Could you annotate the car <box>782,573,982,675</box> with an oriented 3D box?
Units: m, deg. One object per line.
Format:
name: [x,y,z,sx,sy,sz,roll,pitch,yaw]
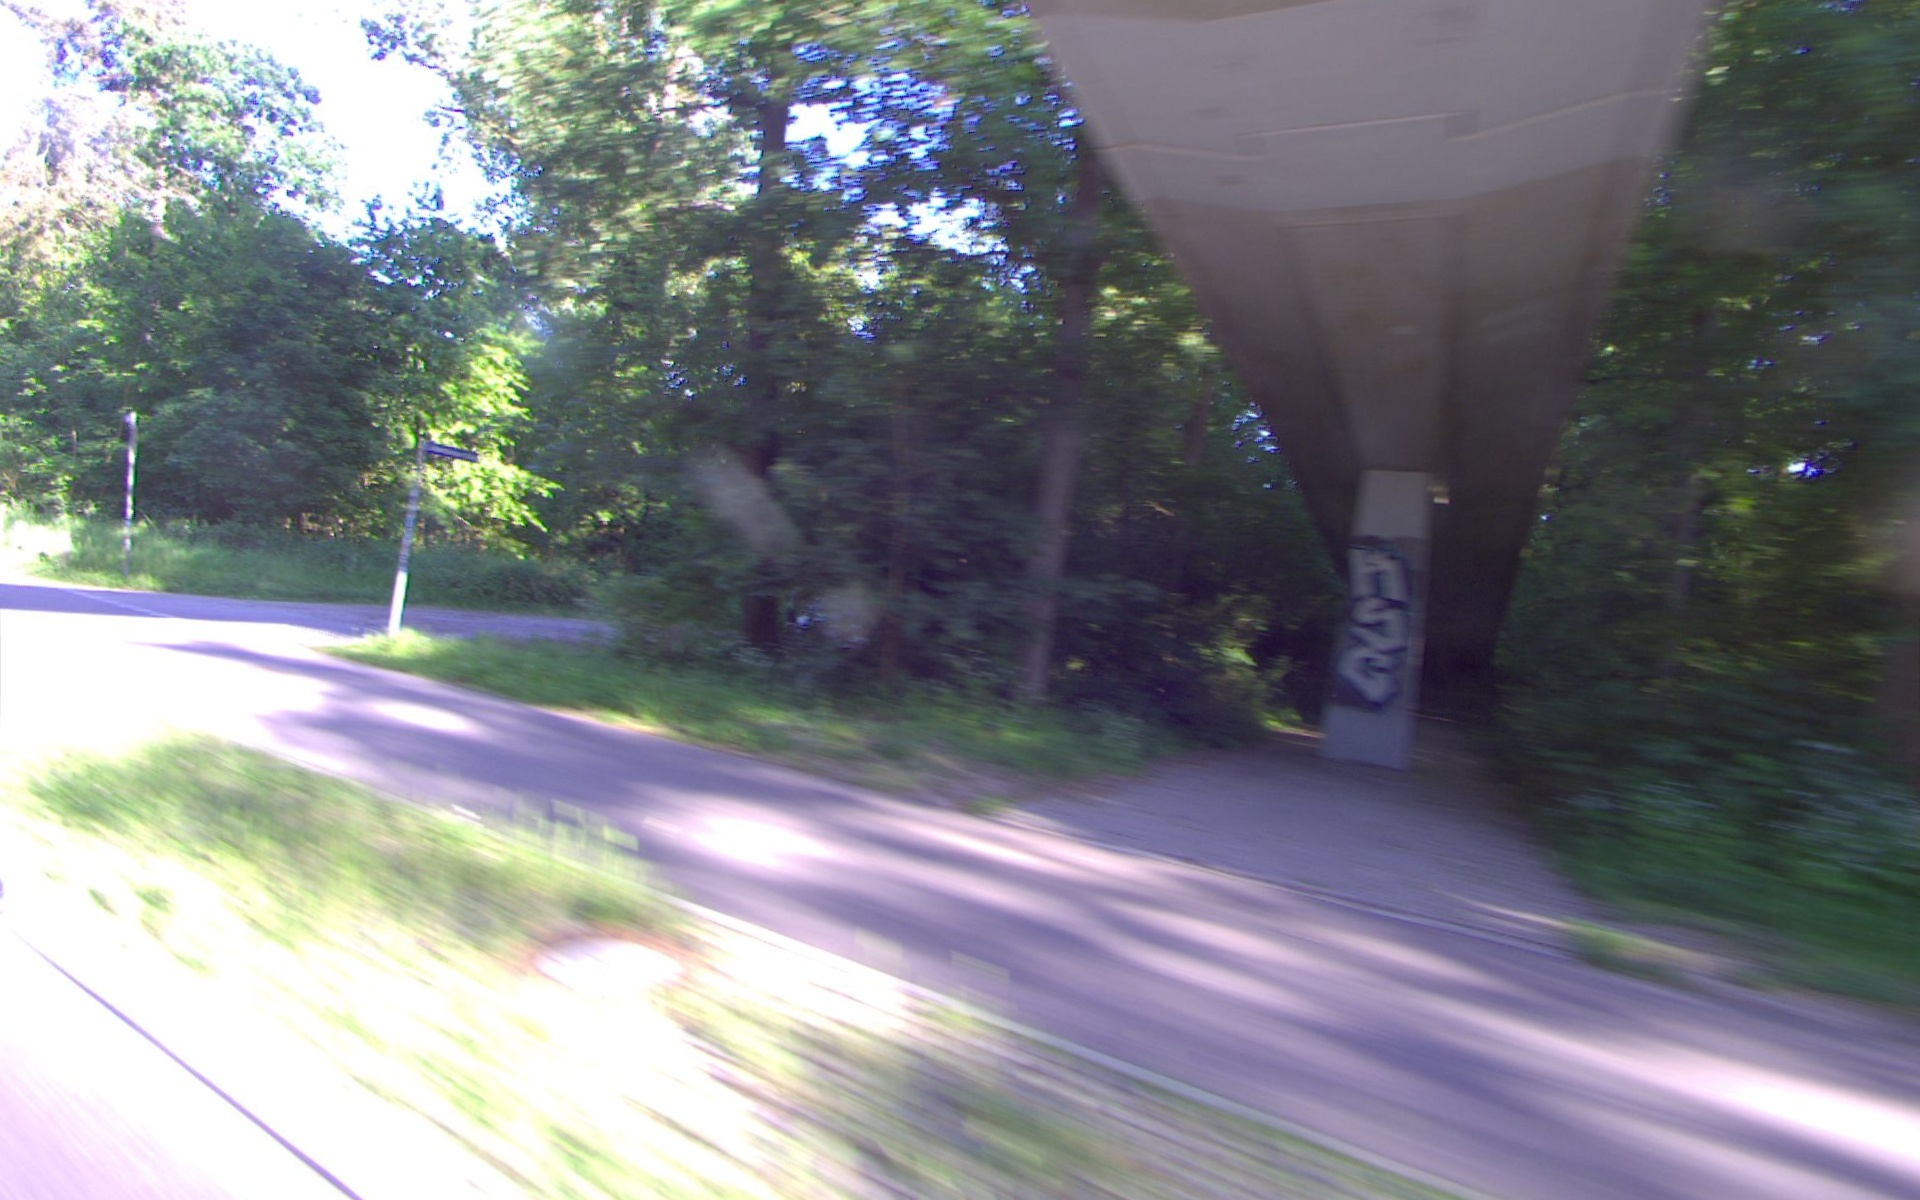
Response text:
car: [-2.068,0.624,26.444,4.673,2.036,2.000,6,-2,27]

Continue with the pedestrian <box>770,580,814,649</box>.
pedestrian: [-4.648,0.408,27.823,0.748,1.788,0.665,7,0,26]
